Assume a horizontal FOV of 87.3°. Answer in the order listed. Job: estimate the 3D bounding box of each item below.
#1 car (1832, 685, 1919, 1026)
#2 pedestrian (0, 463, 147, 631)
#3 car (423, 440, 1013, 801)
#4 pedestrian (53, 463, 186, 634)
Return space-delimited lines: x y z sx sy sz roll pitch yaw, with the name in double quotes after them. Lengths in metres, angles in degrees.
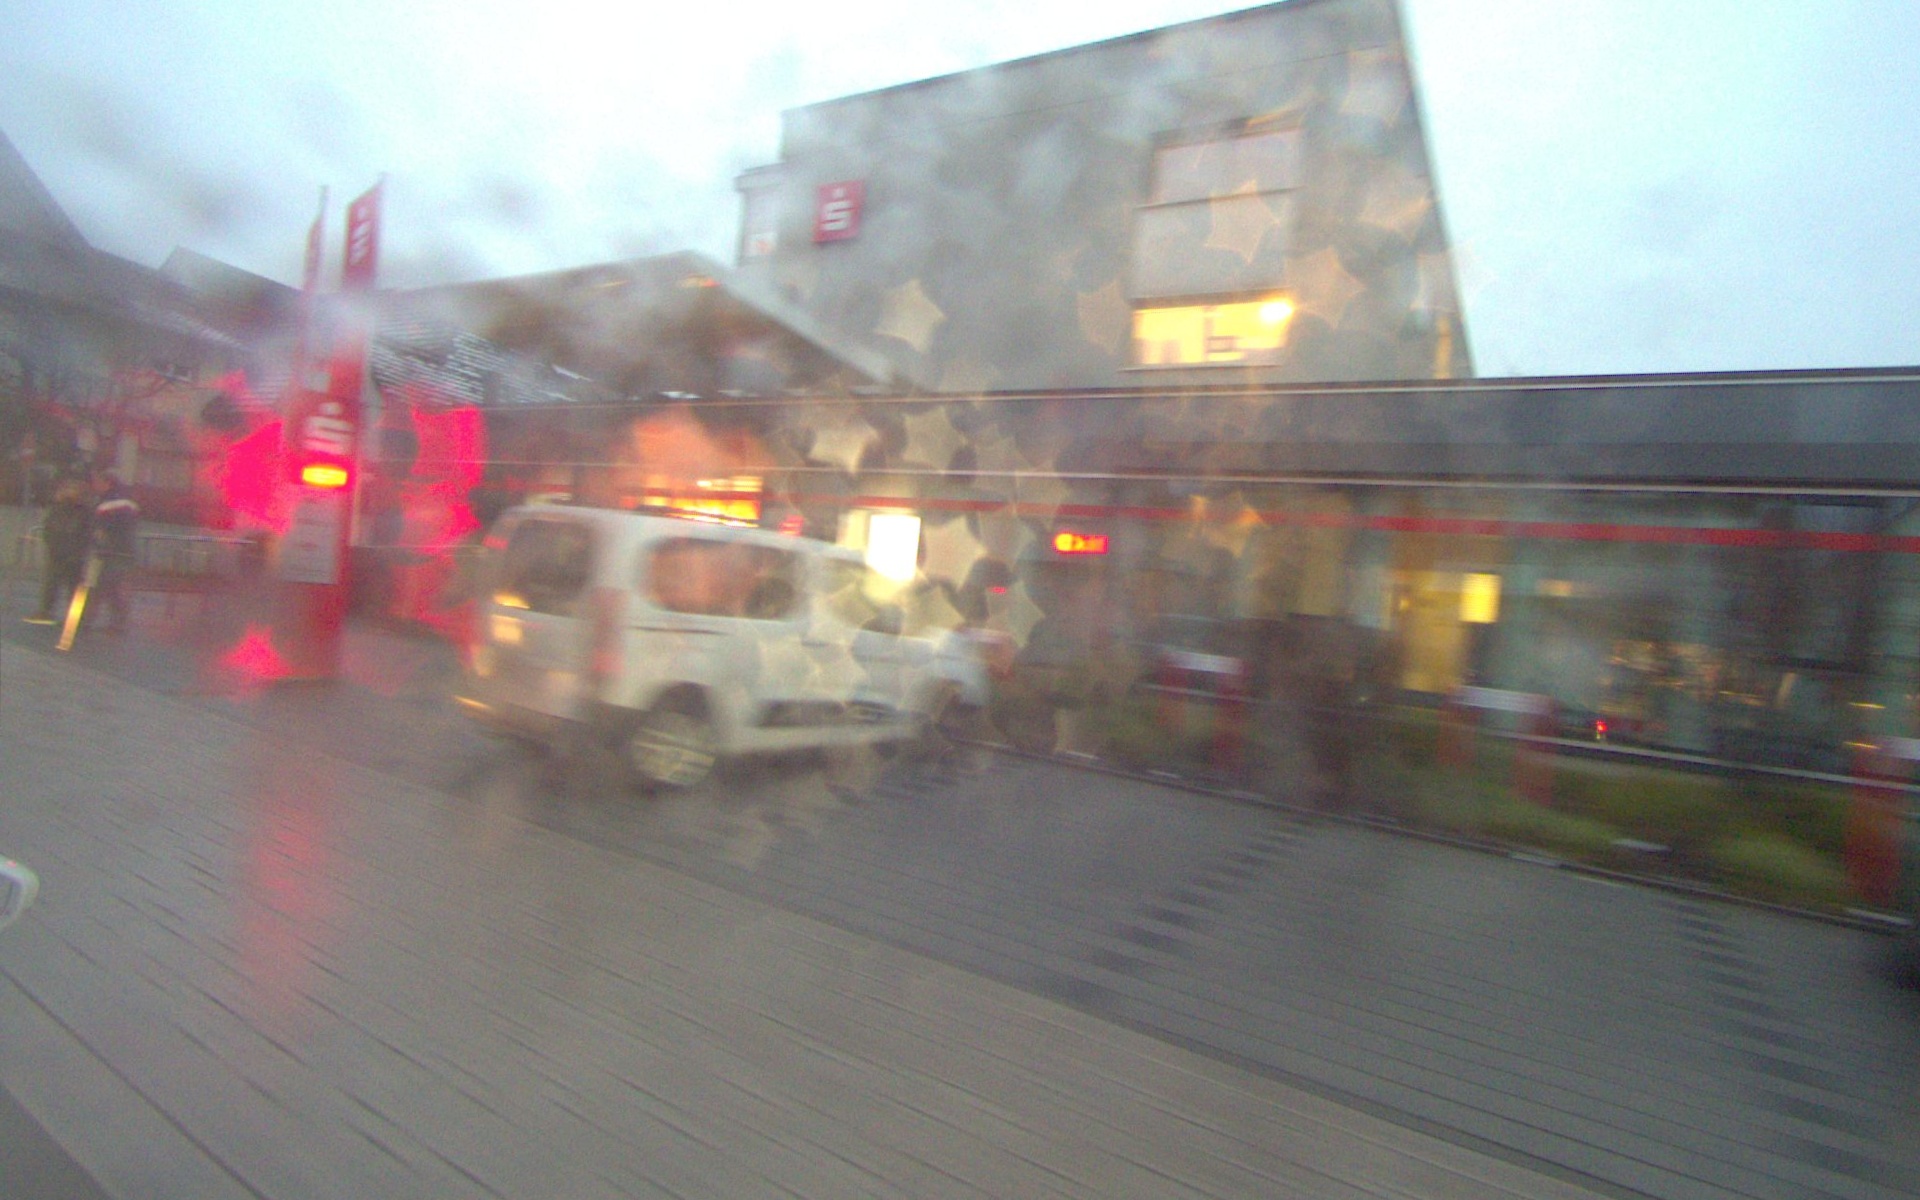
5.038 1.197 3.832 1.882 1.504 3.990 5 -1 32 "car"
-9.925 -0.568 11.278 0.830 1.727 0.837 6 1 -8 "pedestrian"
-1.639 0.152 7.986 1.970 2.076 4.087 7 1 38 "car"
-9.086 -0.540 10.880 0.899 1.727 0.705 6 2 25 "pedestrian"
